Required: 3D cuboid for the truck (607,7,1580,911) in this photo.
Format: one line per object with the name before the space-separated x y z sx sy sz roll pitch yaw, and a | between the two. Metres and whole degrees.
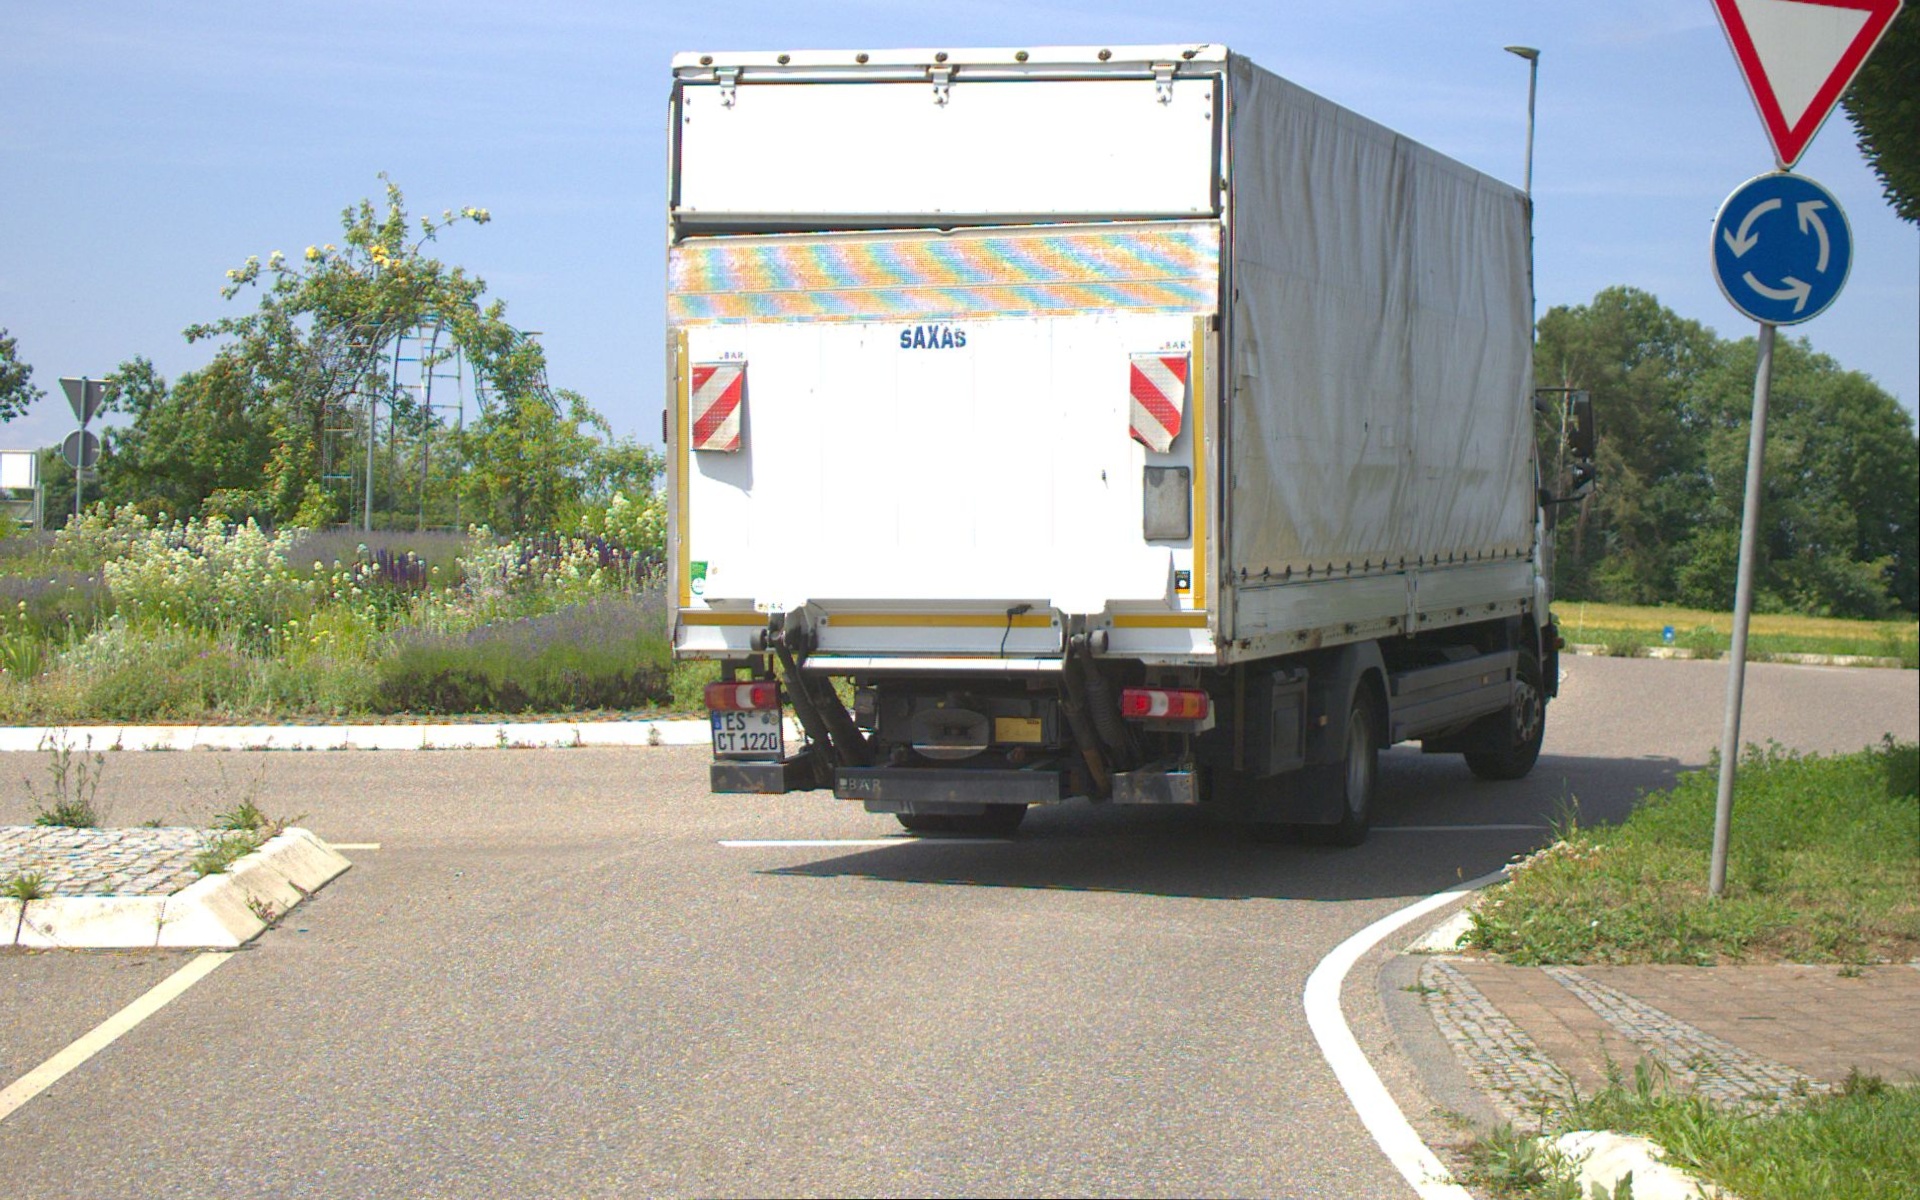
truck | 1.293 -0.675 18.796 2.769 3.658 9.374 1 1 18
